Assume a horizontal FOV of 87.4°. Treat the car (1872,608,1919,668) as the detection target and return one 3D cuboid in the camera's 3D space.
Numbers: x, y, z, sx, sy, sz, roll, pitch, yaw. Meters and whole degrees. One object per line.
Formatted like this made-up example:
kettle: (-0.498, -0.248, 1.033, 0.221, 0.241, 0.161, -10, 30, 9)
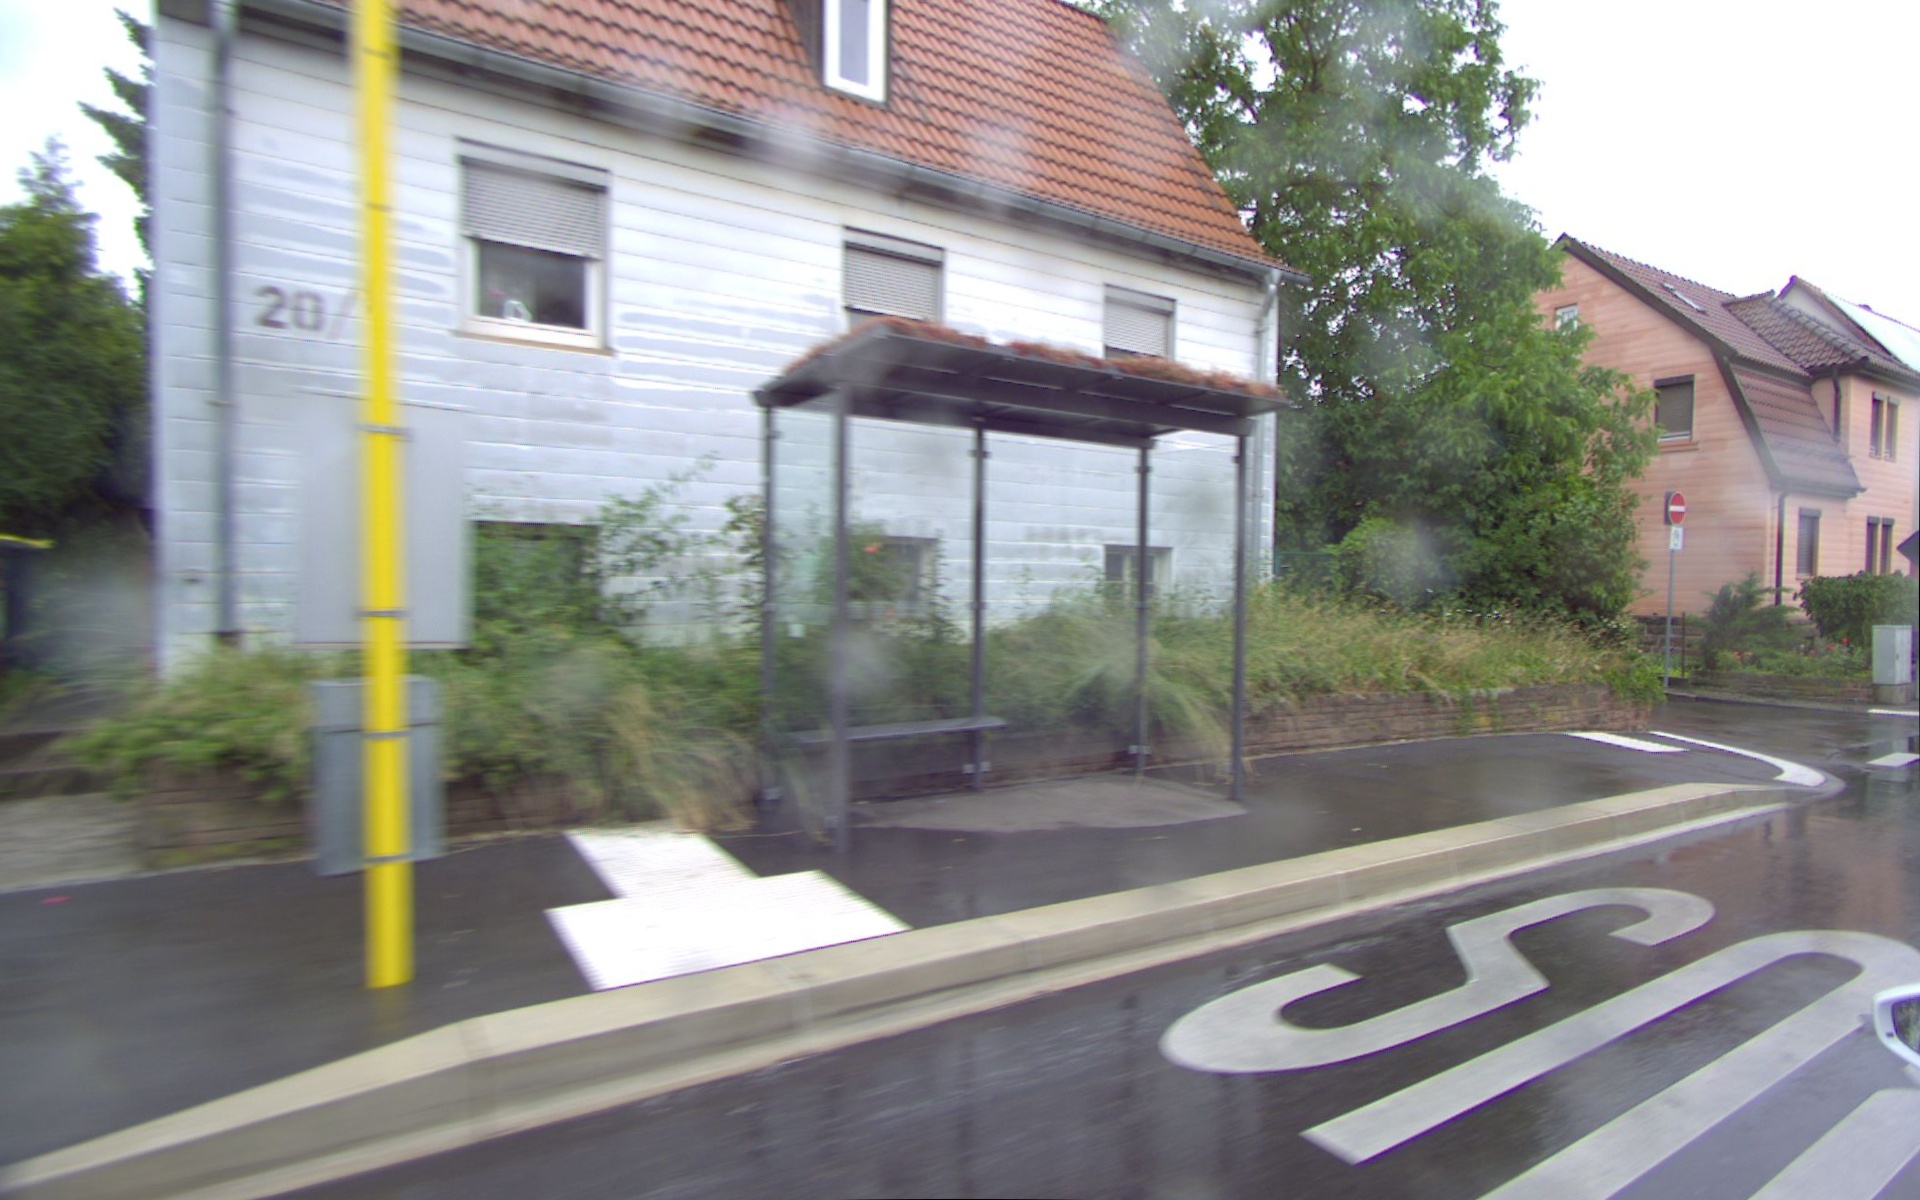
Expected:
car: (27.070, 1.113, 26.918, 1.644, 1.550, 3.525, 1, 2, -31)
